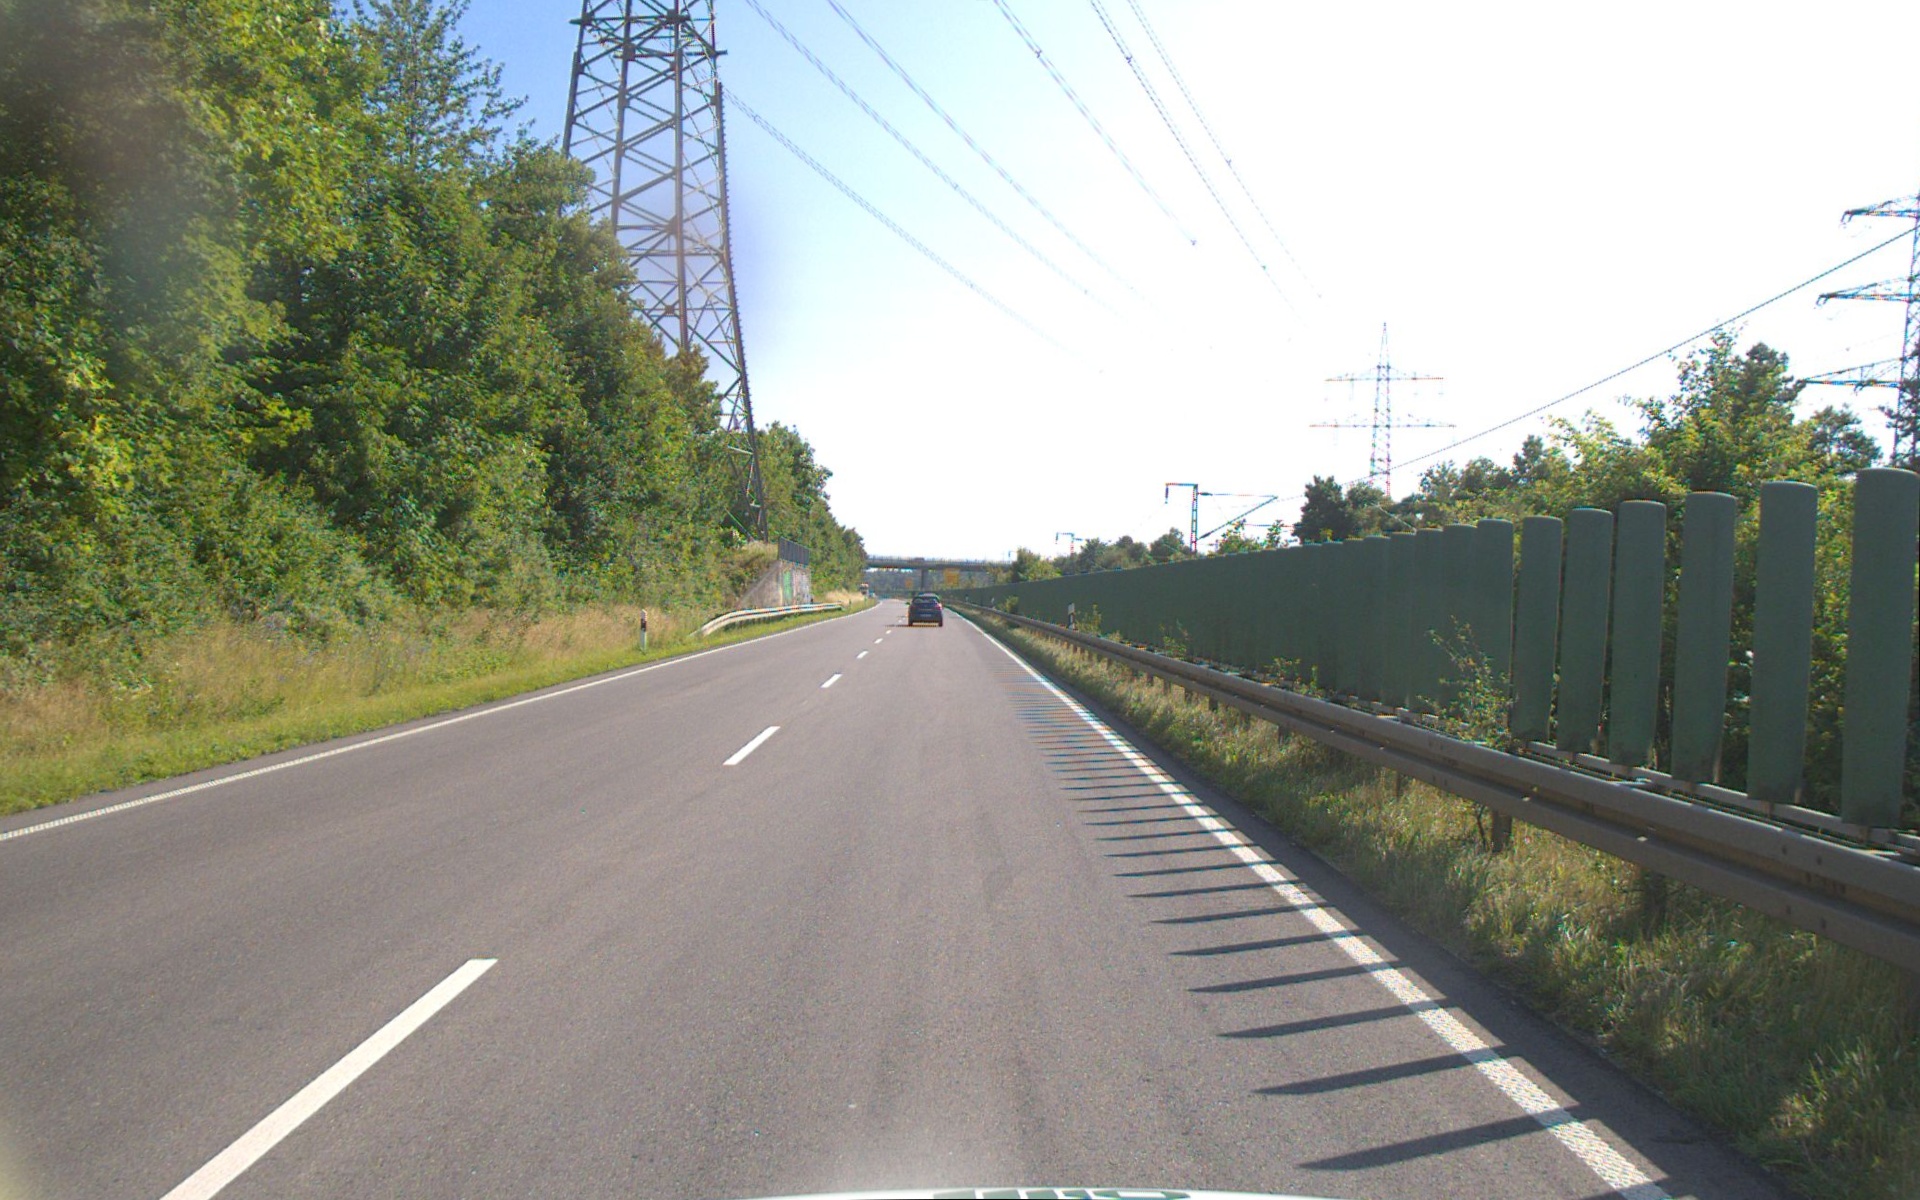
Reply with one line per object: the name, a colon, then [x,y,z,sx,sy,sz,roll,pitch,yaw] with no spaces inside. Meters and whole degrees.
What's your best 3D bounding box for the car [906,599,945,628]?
car: [-1.616,0.633,76.952,1.630,1.283,3.997,1,0,-4]
